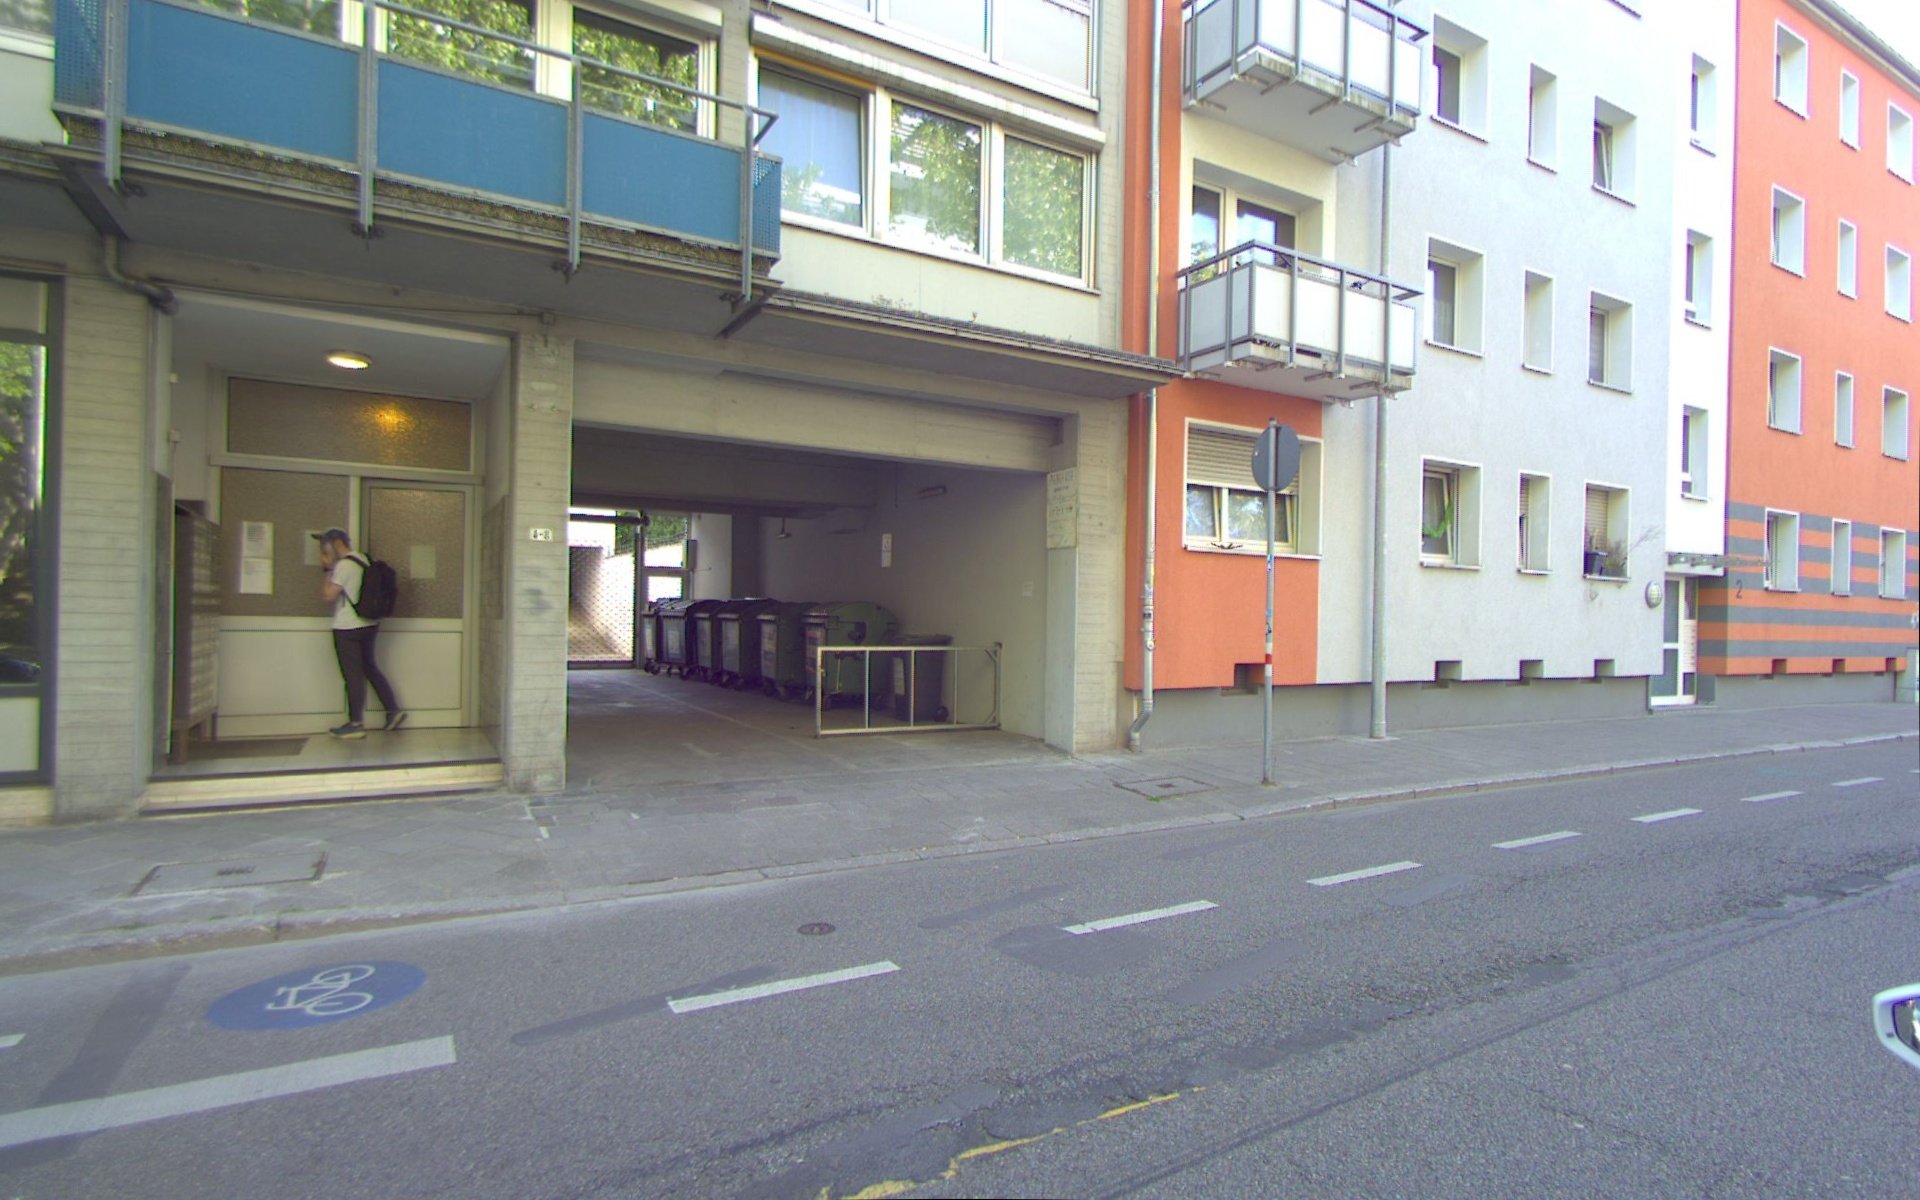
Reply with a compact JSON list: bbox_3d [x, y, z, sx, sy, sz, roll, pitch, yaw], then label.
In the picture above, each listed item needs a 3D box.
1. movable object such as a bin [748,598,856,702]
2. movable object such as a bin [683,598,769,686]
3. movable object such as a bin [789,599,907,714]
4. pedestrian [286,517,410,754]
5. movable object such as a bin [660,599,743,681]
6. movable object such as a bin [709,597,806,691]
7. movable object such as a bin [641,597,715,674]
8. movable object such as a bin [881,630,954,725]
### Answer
[{"bbox_3d":[-2.397,0.728,15.129,1.186,1.467,1.319,2,0,-30],"label":"movable object such as a bin"},{"bbox_3d":[-4.134,0.727,17.704,1.186,1.467,1.114,2,0,-30],"label":"movable object such as a bin"},{"bbox_3d":[-1.557,0.747,13.796,1.159,1.467,1.319,2,0,-30],"label":"movable object such as a bin"},{"bbox_3d":[-5.194,0.291,8.528,0.780,1.904,0.575,2,0,-41],"label":"pedestrian"},{"bbox_3d":[-4.834,0.729,18.747,1.186,1.467,1.222,2,0,-30],"label":"movable object such as a bin"},{"bbox_3d":[-3.364,0.706,16.613,1.186,1.467,1.319,2,0,-30],"label":"movable object such as a bin"},{"bbox_3d":[-5.610,0.694,19.976,1.186,1.467,1.027,2,0,-30],"label":"movable object such as a bin"},{"bbox_3d":[-0.529,0.947,12.404,0.745,1.116,0.463,2,0,-30],"label":"movable object such as a bin"}]
